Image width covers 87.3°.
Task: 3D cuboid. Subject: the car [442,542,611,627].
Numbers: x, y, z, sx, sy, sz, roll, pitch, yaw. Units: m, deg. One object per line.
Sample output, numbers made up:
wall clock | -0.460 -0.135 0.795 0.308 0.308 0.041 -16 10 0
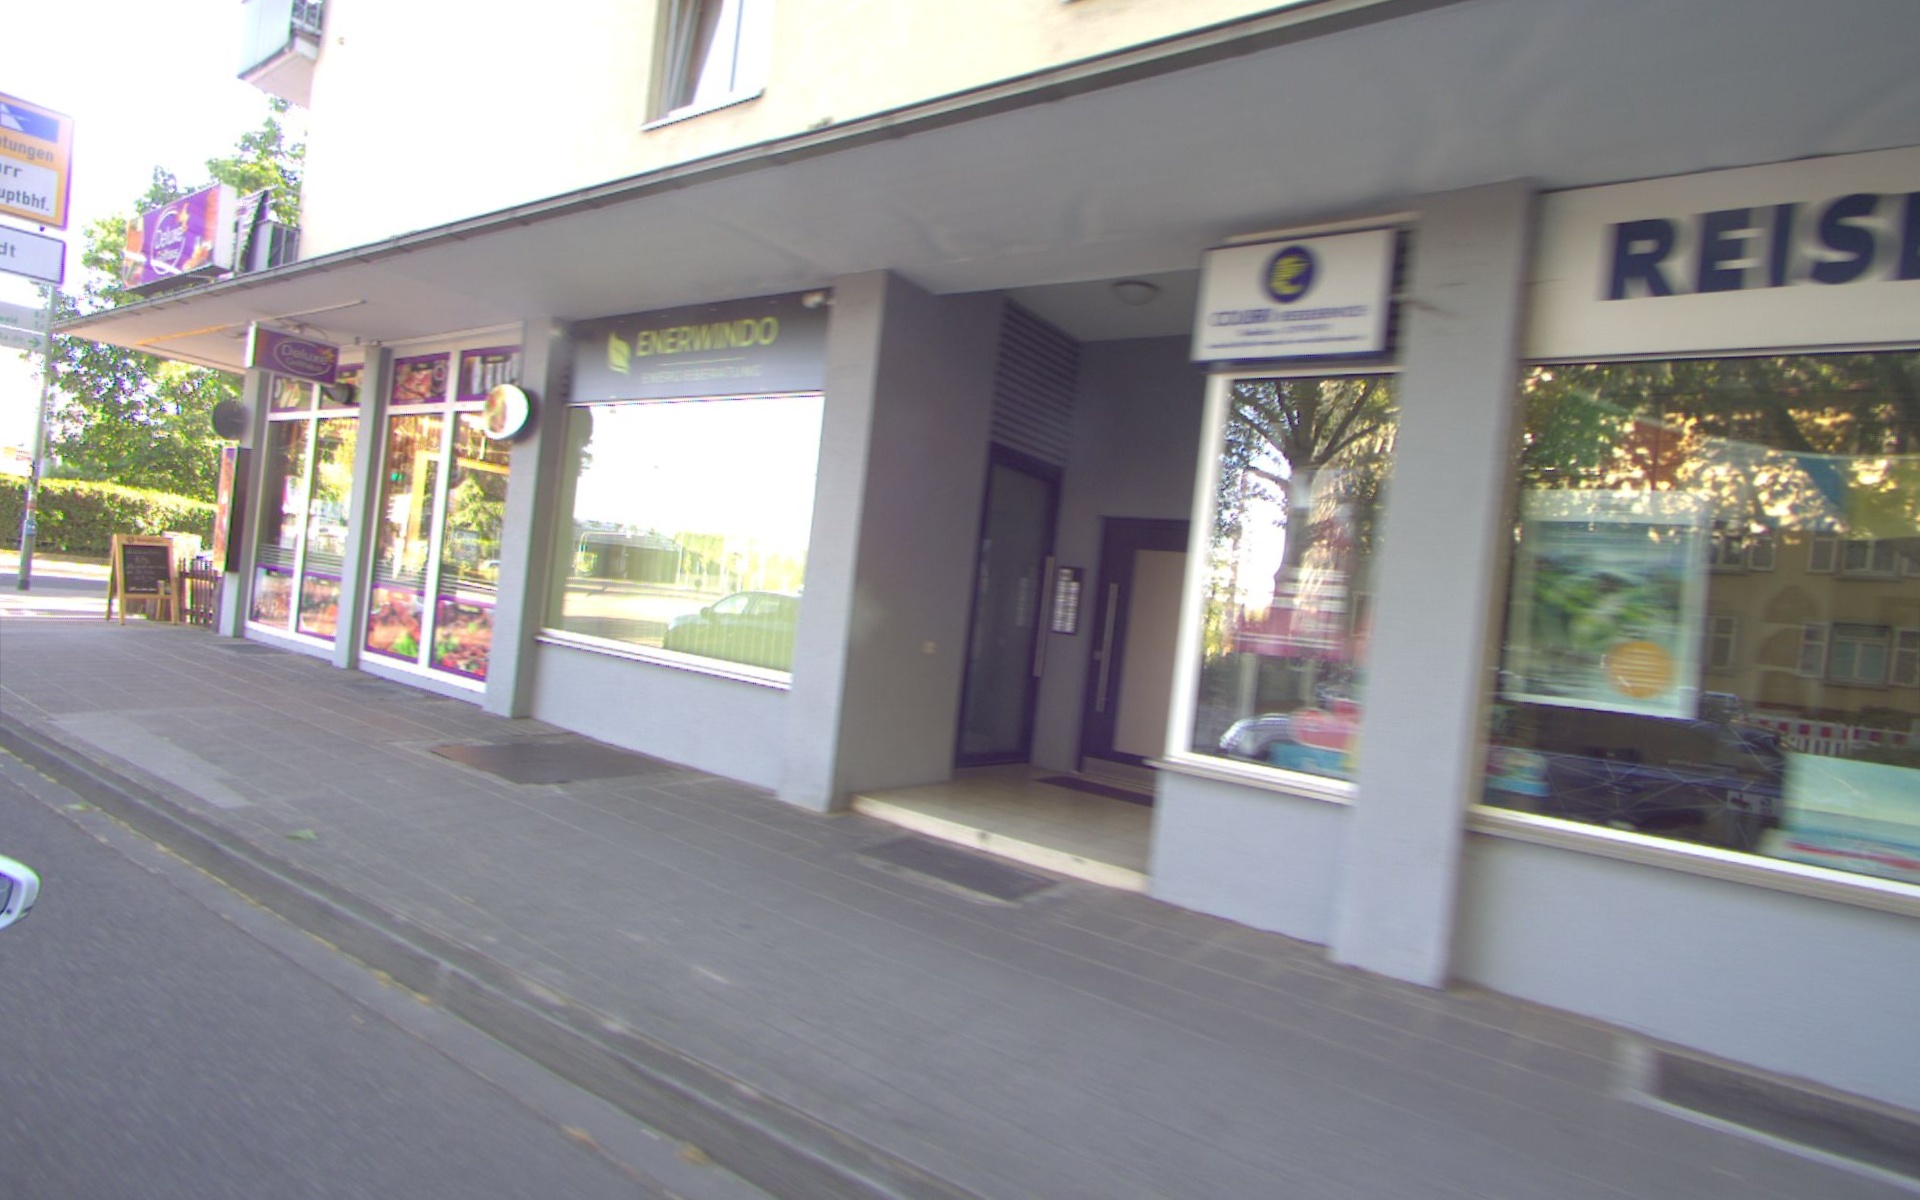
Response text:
car | -10.504 -0.391 24.299 3.970 1.600 1.706 6 -1 33

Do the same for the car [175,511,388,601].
car | -17.584 -1.074 26.238 1.781 1.835 4.173 2 -3 39
